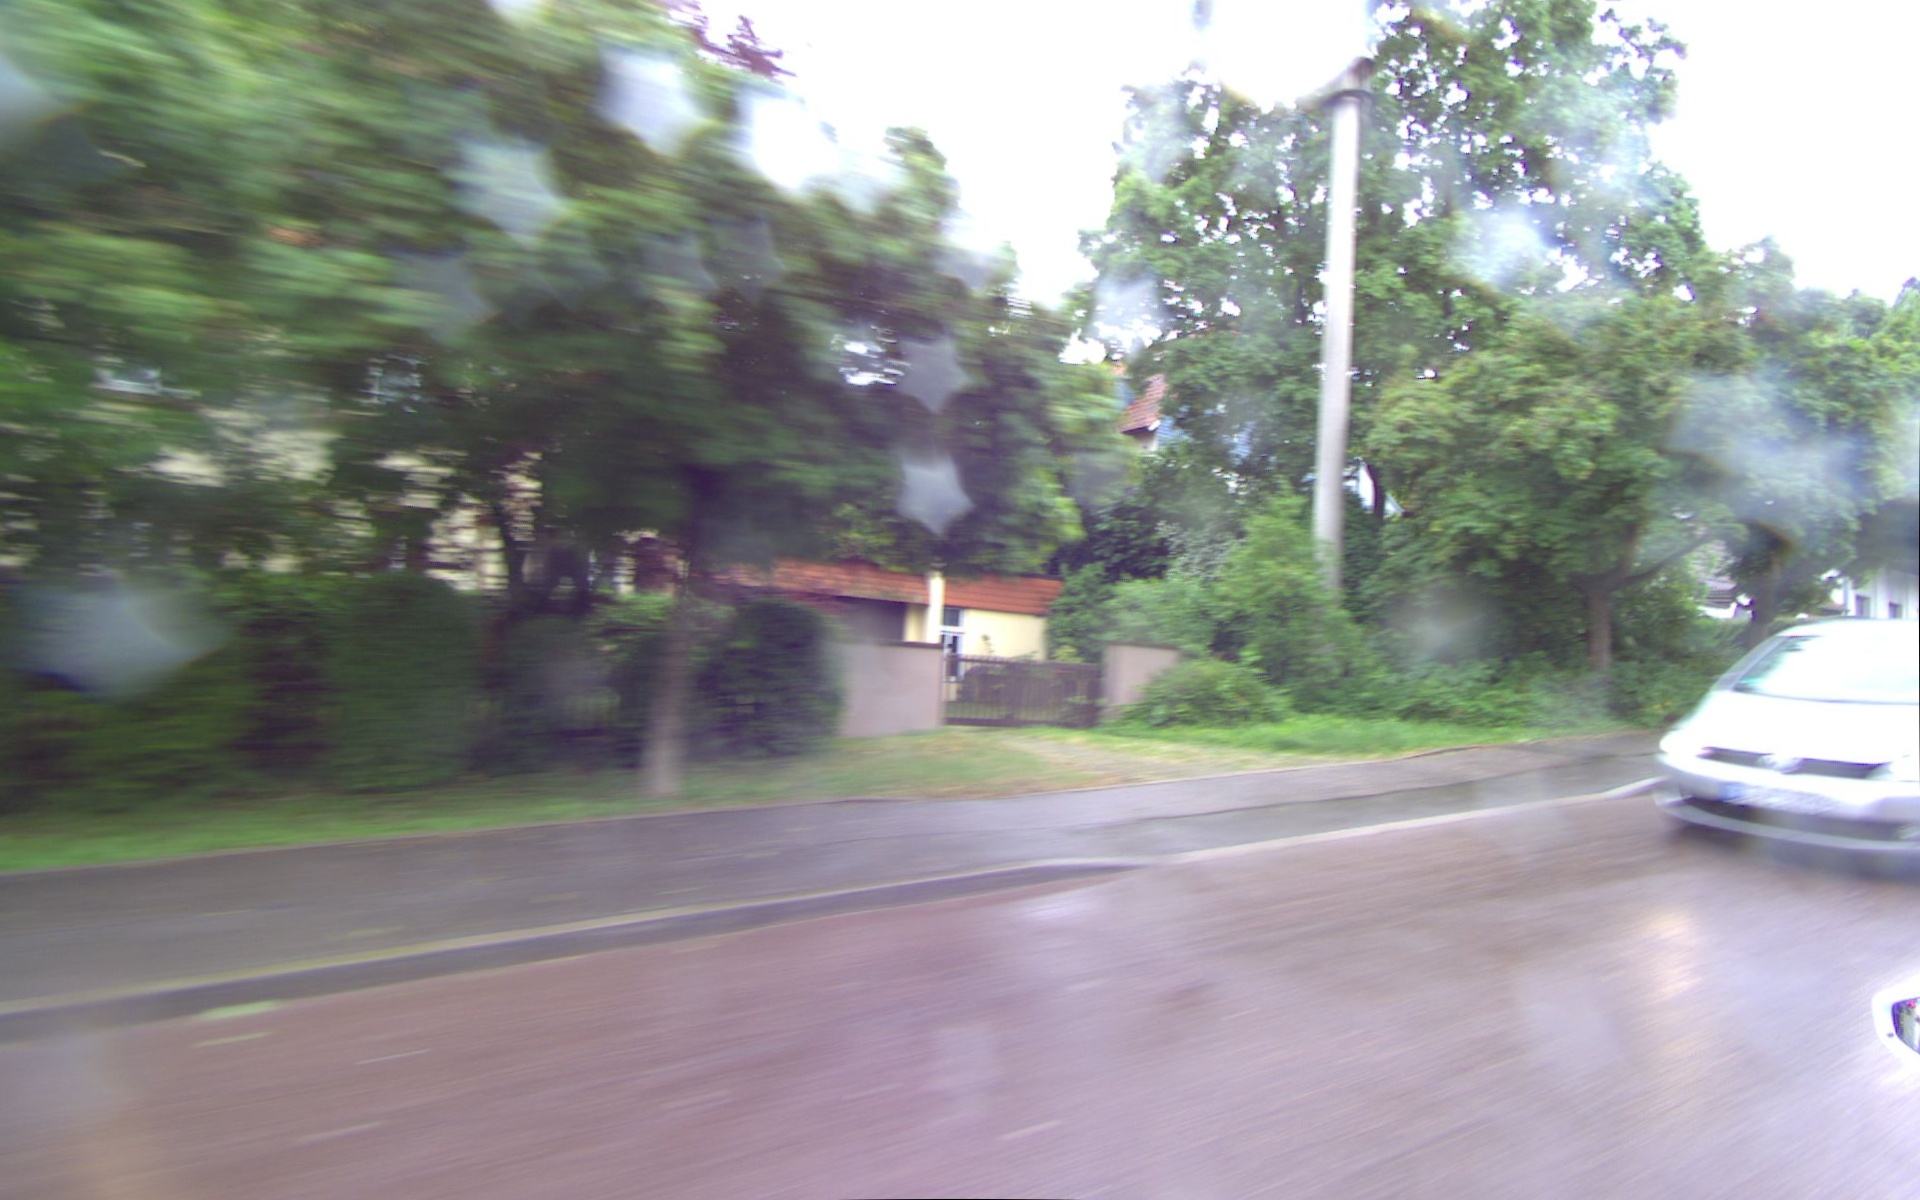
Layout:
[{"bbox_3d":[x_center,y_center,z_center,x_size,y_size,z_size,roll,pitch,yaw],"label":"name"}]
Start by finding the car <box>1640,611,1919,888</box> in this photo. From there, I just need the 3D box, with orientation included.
[{"bbox_3d":[6.804,0.897,7.245,3.787,1.574,1.795,1,-1,-32],"label":"car"}]

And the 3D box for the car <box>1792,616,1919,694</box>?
[{"bbox_3d":[23.242,1.333,24.542,1.975,1.824,4.090,1,-1,-28],"label":"car"}]

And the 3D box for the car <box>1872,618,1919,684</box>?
[{"bbox_3d":[28.114,1.460,27.809,1.784,1.798,4.043,1,0,-39],"label":"car"}]
